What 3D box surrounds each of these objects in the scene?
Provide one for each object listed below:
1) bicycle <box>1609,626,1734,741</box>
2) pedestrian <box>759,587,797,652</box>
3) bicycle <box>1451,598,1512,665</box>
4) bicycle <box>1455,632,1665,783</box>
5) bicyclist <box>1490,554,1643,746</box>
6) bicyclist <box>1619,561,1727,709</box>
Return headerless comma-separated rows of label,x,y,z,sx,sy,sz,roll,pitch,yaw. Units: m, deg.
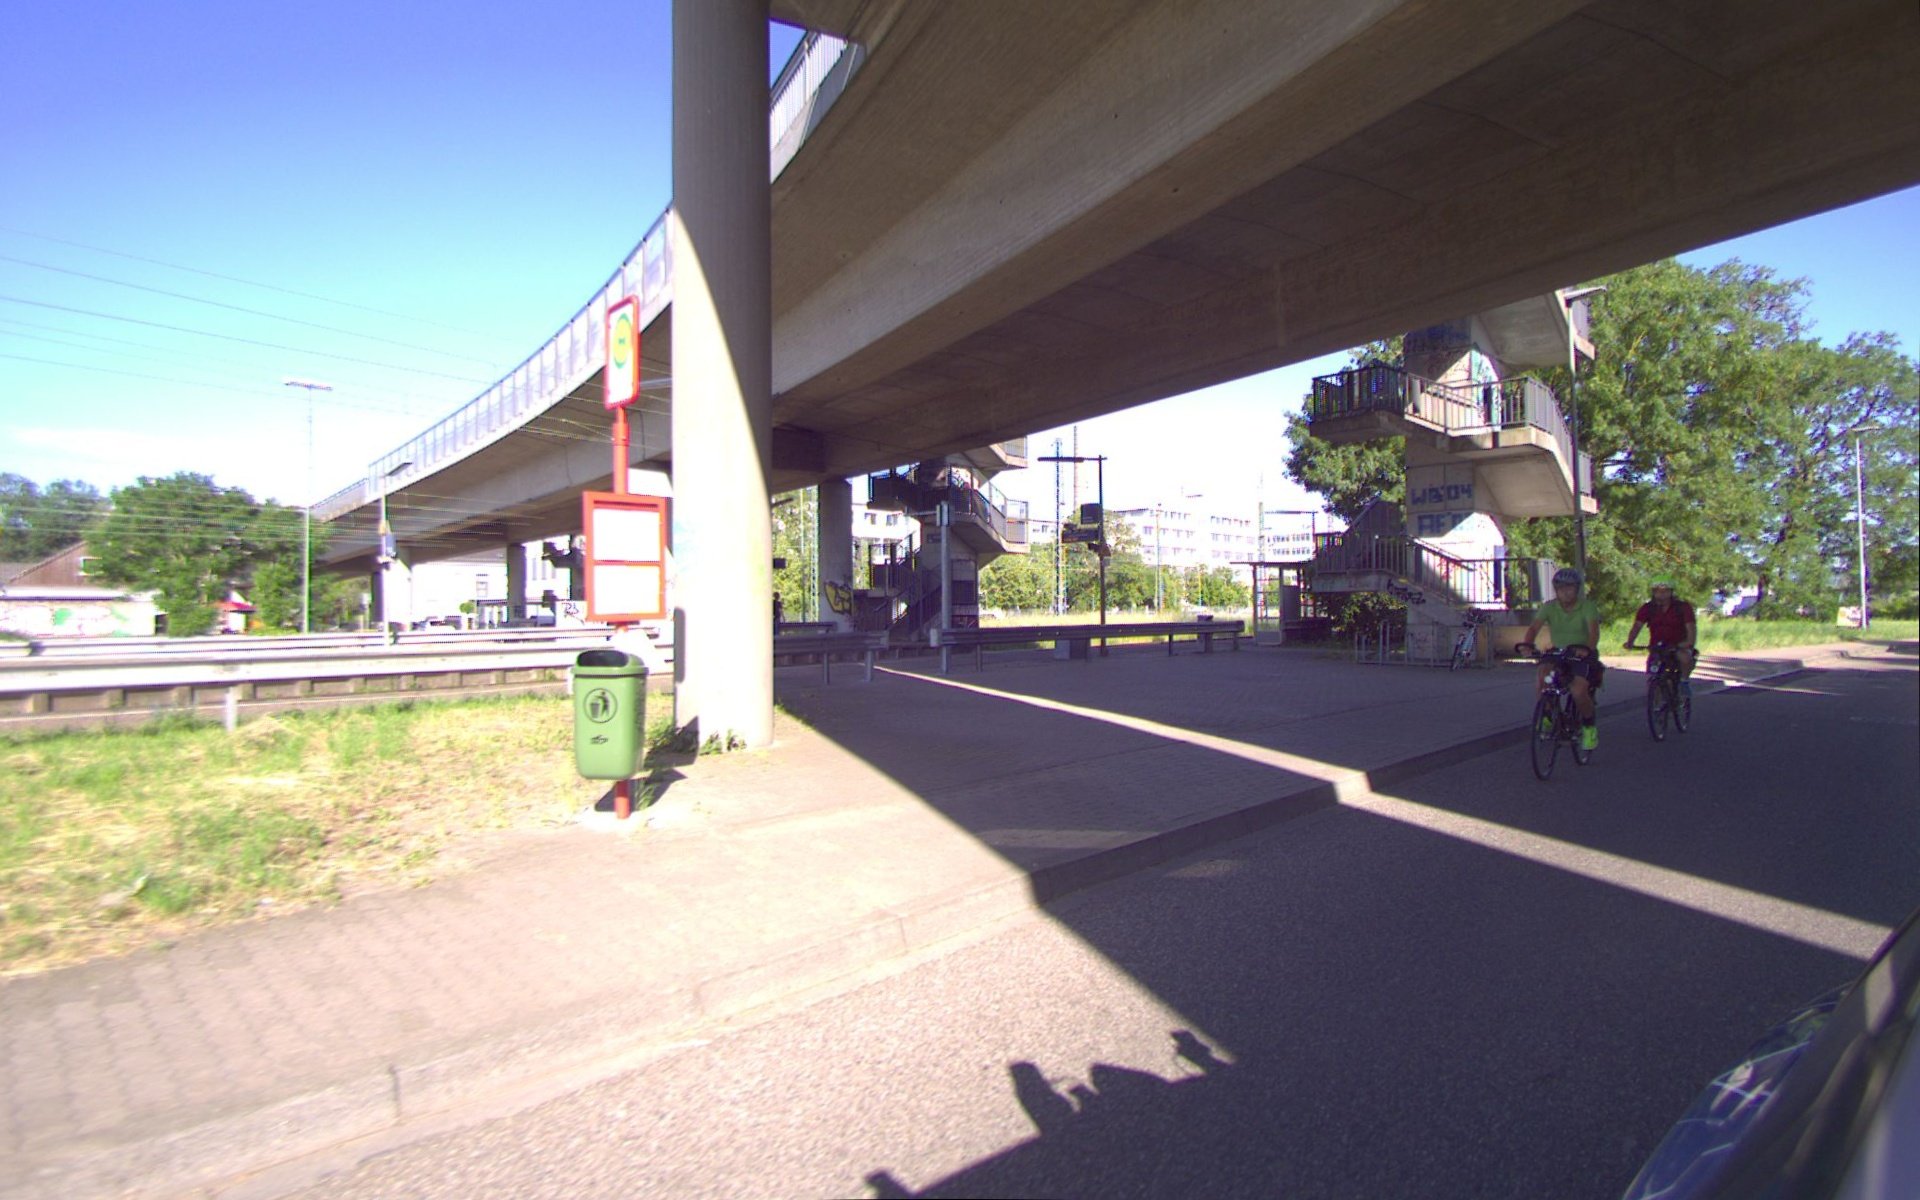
bicycle,7.732,0.842,10.954,0.840,1.065,2.156,-1,-1,42
pedestrian,-5.835,0.627,32.480,0.892,2.039,0.823,-1,-1,42
bicycle,9.875,0.562,19.131,0.596,1.197,2.150,0,0,39
bicycle,5.133,0.837,8.599,2.150,1.065,0.842,0,-1,-39
bicyclist,5.153,0.395,8.606,0.907,1.507,0.842,0,-1,-39
bicyclist,7.723,0.360,10.957,0.840,1.507,0.909,-1,-1,43
